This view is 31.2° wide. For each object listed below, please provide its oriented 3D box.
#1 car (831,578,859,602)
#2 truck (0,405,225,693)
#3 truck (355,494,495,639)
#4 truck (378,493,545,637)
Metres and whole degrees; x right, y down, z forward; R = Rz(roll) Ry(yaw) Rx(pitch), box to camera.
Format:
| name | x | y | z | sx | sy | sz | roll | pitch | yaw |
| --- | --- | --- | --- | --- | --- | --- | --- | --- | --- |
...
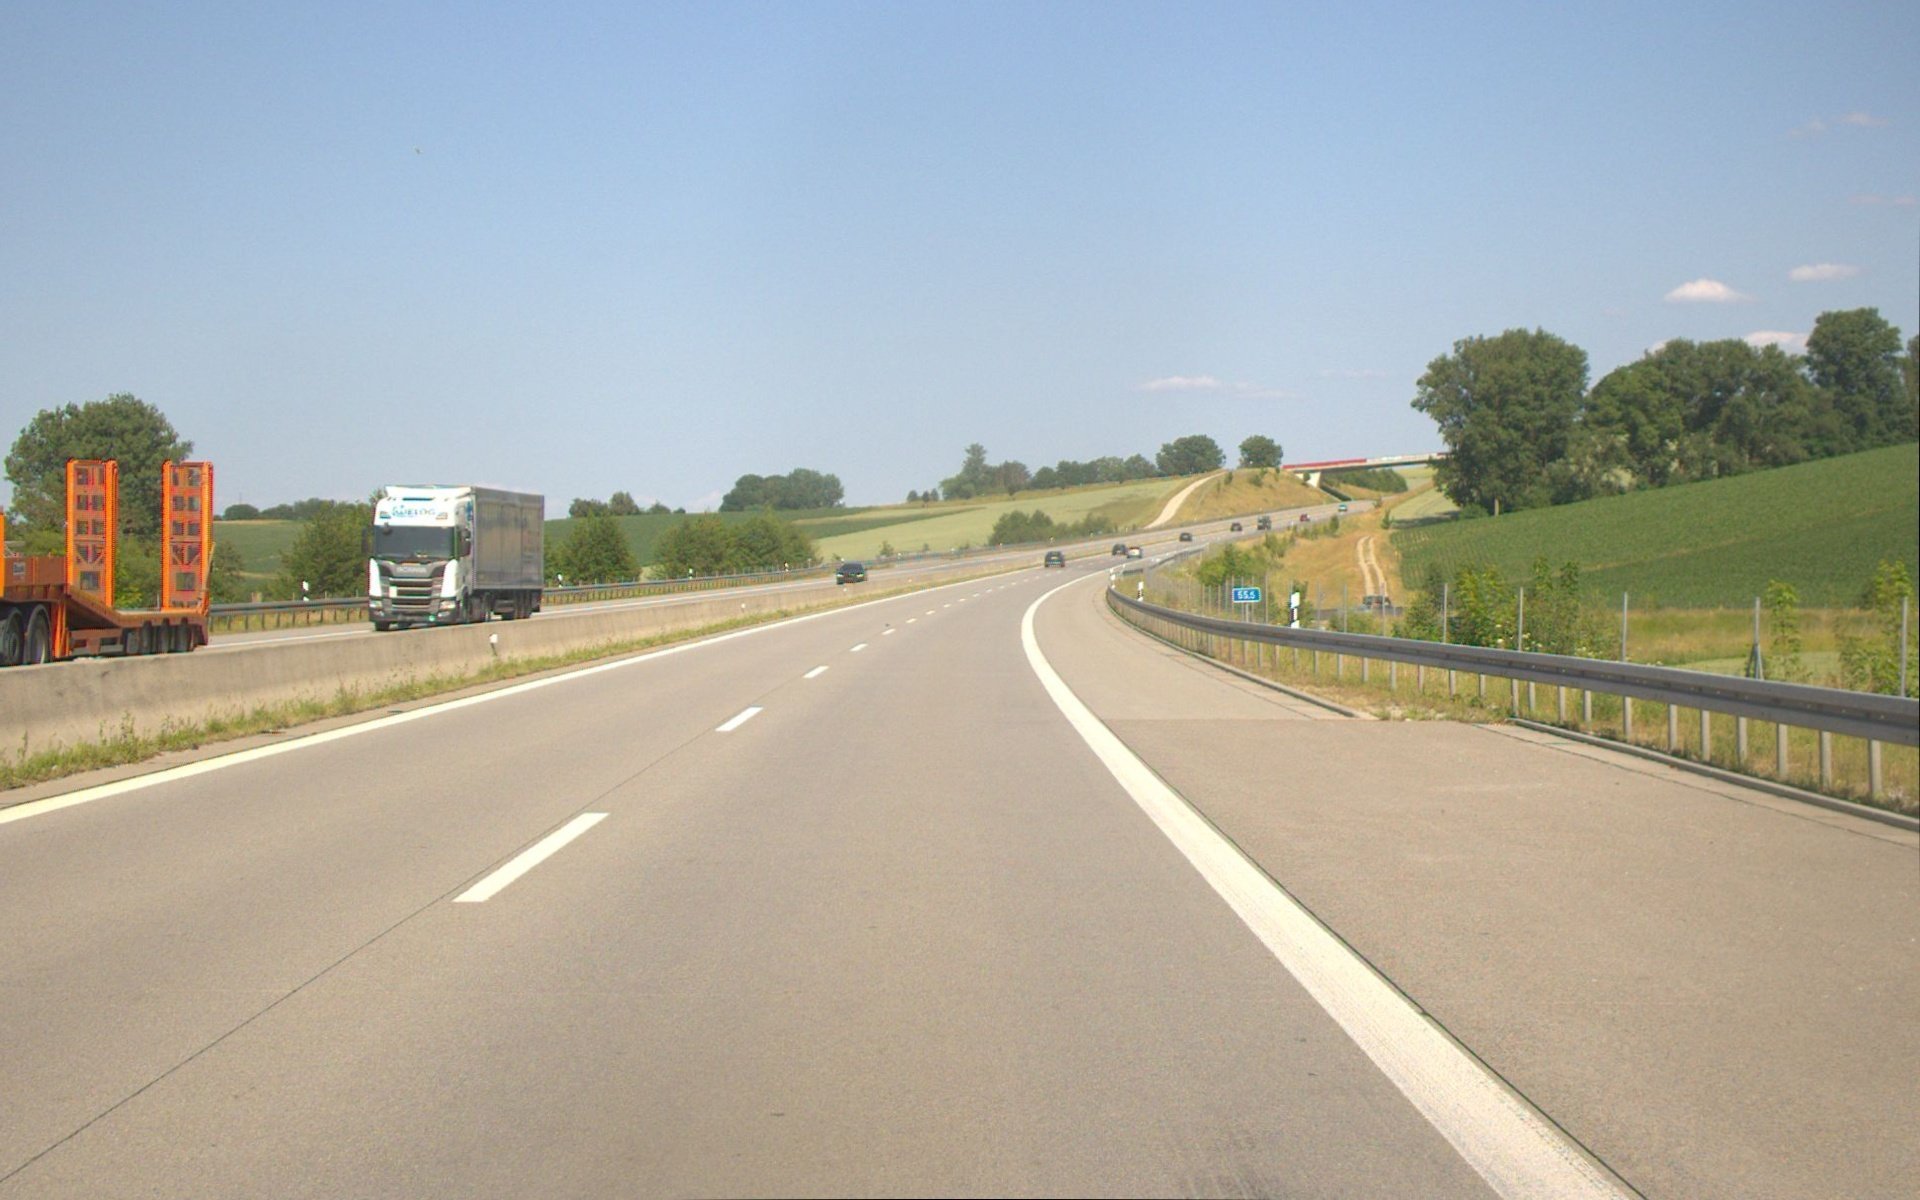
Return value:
| name | x | y | z | sx | sy | sz | roll | pitch | yaw |
| --- | --- | --- | --- | --- | --- | --- | --- | --- | --- |
| car | -7.787 | -0.696 | 233.105 | 1.710 | 1.584 | 4.627 | 1 | 0 | 0 |
| truck | -14.765 | -0.728 | 53.948 | 2.867 | 4.002 | 17.115 | 0 | 0 | 0 |
| truck | -14.803 | -0.909 | 95.465 | 2.861 | 3.860 | 5.983 | 0 | 0 | 1 |
| truck | -14.746 | -1.004 | 102.874 | 2.859 | 3.994 | 13.868 | 0 | 0 | 0 |
